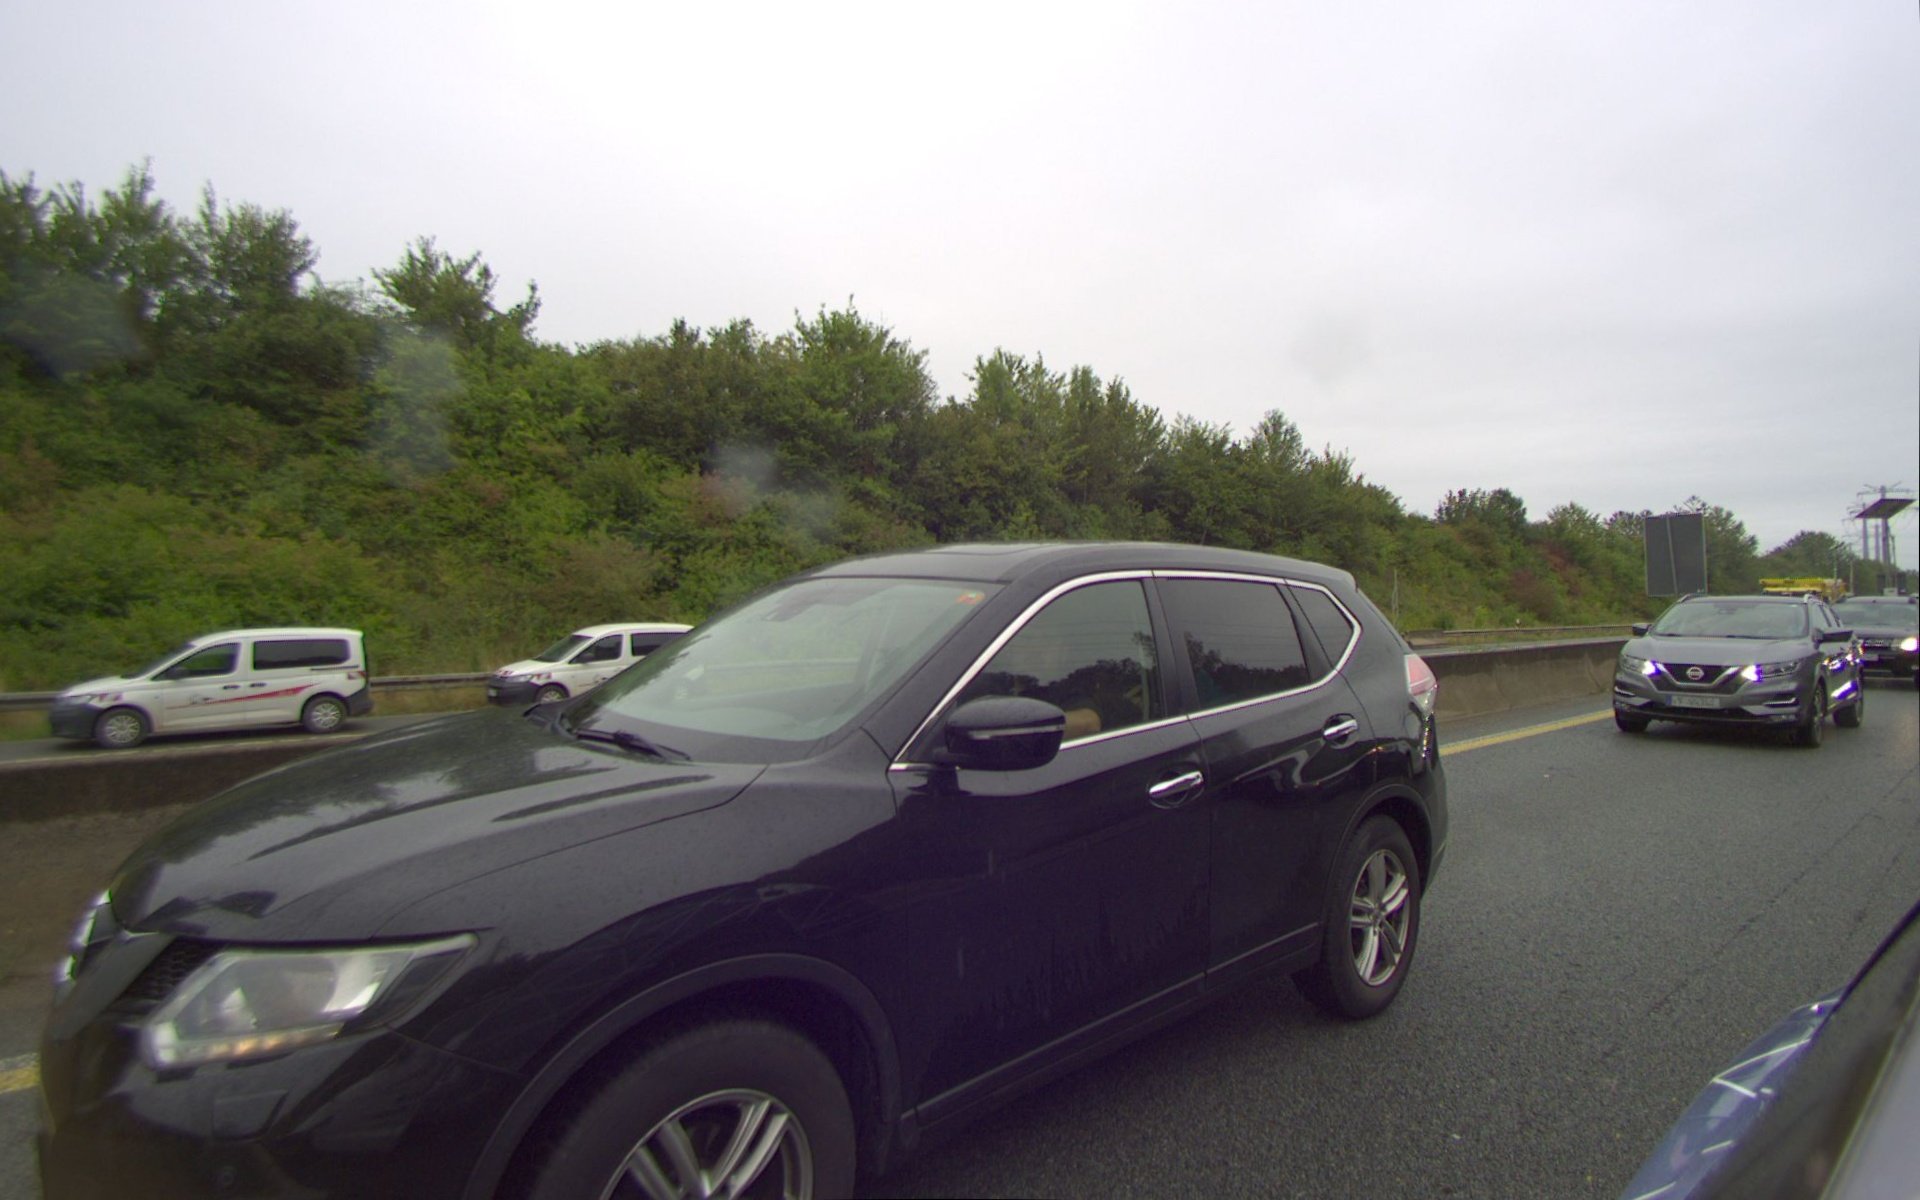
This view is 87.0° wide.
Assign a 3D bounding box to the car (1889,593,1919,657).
[{"bbox_3d":[24.604,0.585,25.232,4.053,1.509,1.782,-1,1,-42],"label":"car"}]

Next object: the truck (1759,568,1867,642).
[{"bbox_3d":[43.148,0.186,51.072,9.406,3.467,2.618,-1,0,-40],"label":"truck"}]

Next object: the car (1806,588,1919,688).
[{"bbox_3d":[16.827,0.605,18.316,4.053,1.618,1.782,-1,1,-42],"label":"car"}]

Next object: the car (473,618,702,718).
[{"bbox_3d":[-7.821,1.332,21.480,4.255,1.792,1.731,-1,1,-42],"label":"car"}]

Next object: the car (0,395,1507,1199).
[{"bbox_3d":[-0.032,0.585,3.401,4.562,1.696,1.892,-1,1,-42],"label":"car"}]

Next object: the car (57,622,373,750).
[{"bbox_3d":[-12.591,1.339,17.267,4.195,1.780,1.731,-1,1,-42],"label":"car"}]

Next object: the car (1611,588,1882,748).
[{"bbox_3d":[9.126,0.619,11.623,4.053,1.509,1.782,-1,1,-42],"label":"car"}]
